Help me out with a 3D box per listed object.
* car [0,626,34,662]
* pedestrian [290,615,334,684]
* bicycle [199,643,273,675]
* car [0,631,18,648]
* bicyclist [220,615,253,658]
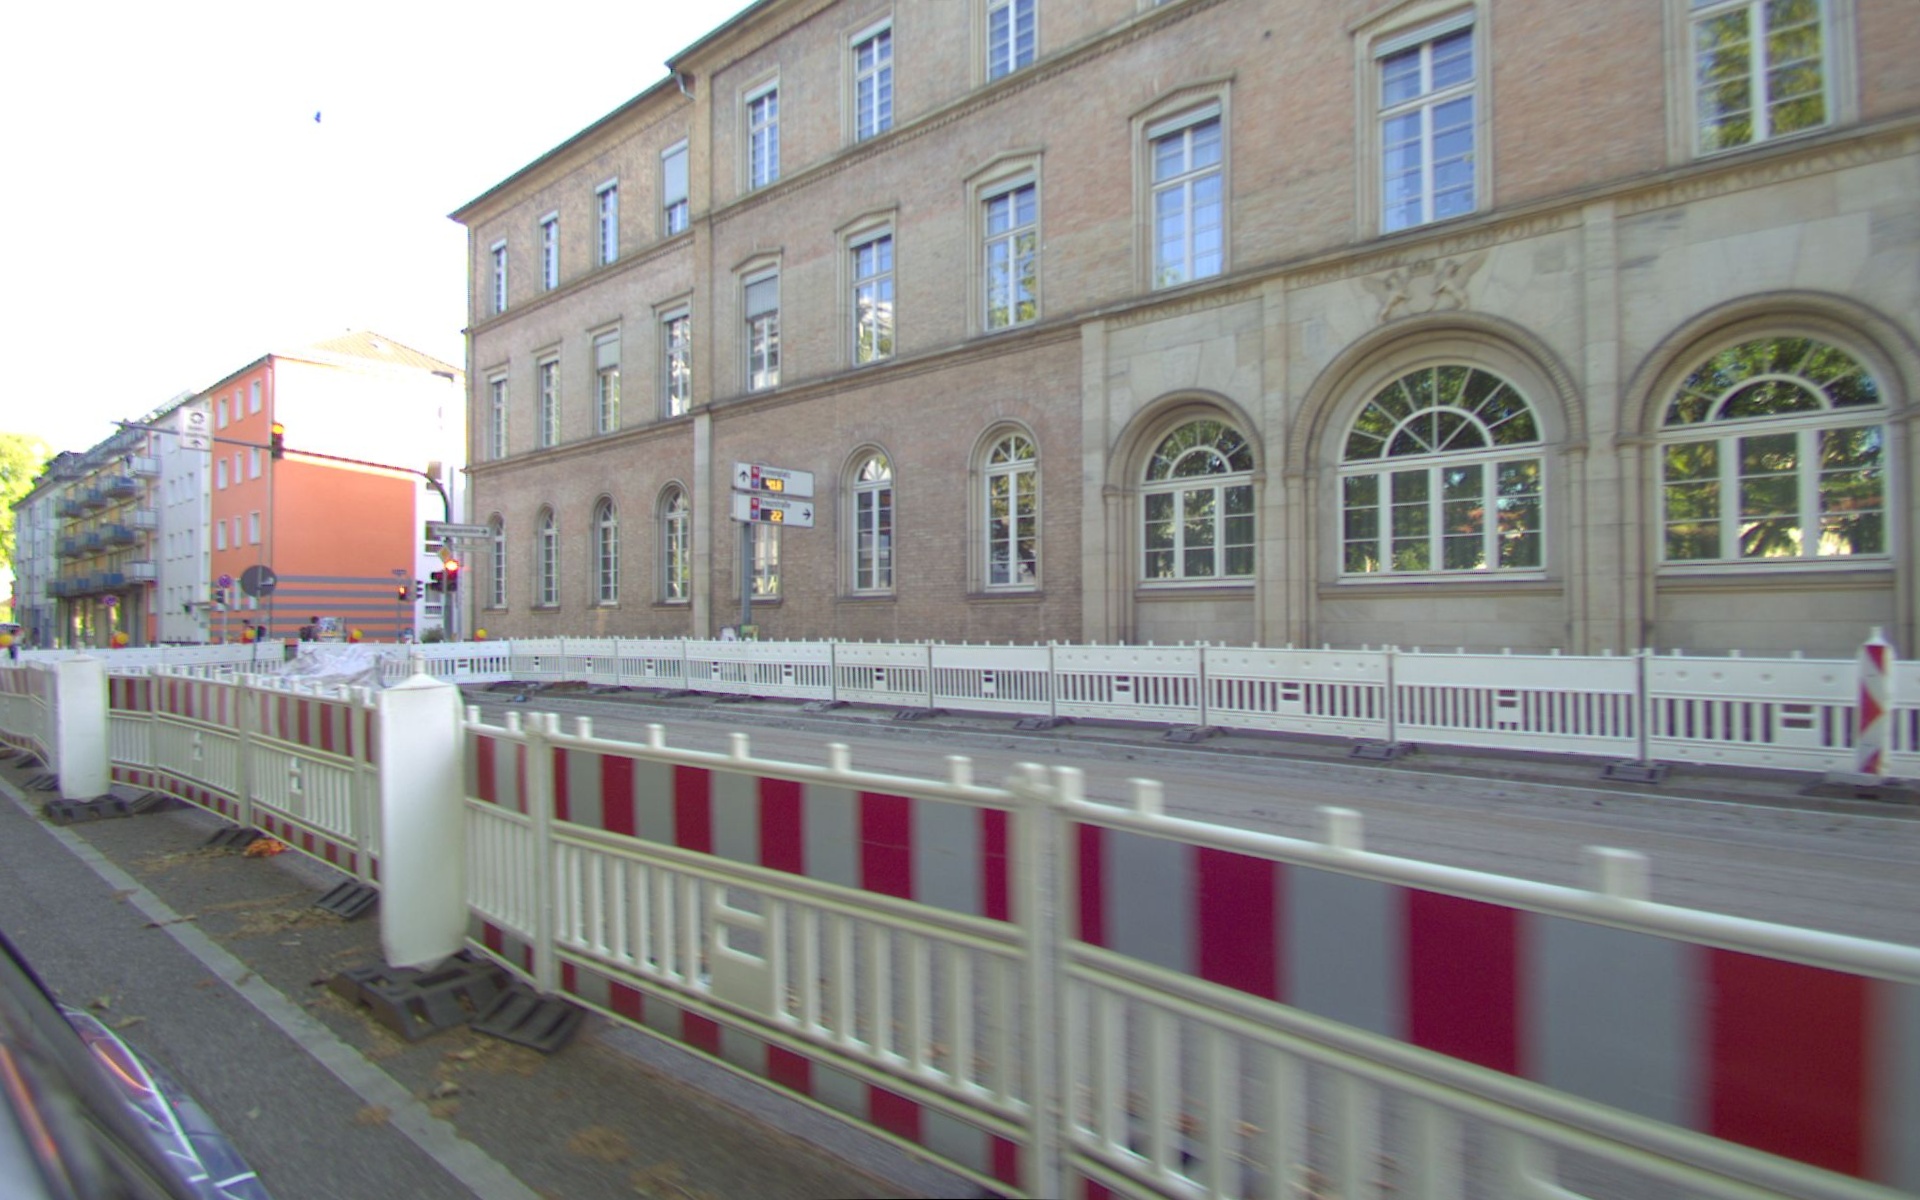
[{"bbox_3d":[-50.576,2.308,53.055,5.115,1.831,1.976,-2,-3,36],"label":"car"},{"bbox_3d":[-17.036,1.290,26.608,0.870,1.785,0.749,1,-2,-39],"label":"pedestrian"},{"bbox_3d":[-24.056,1.958,33.661,1.960,1.007,0.792,2,-5,-37],"label":"bicycle"},{"bbox_3d":[-98.254,4.035,102.511,1.833,1.712,3.944,-2,-3,42],"label":"car"},{"bbox_3d":[-24.097,1.243,33.699,0.825,1.383,0.793,3,-6,-36],"label":"bicyclist"}]
